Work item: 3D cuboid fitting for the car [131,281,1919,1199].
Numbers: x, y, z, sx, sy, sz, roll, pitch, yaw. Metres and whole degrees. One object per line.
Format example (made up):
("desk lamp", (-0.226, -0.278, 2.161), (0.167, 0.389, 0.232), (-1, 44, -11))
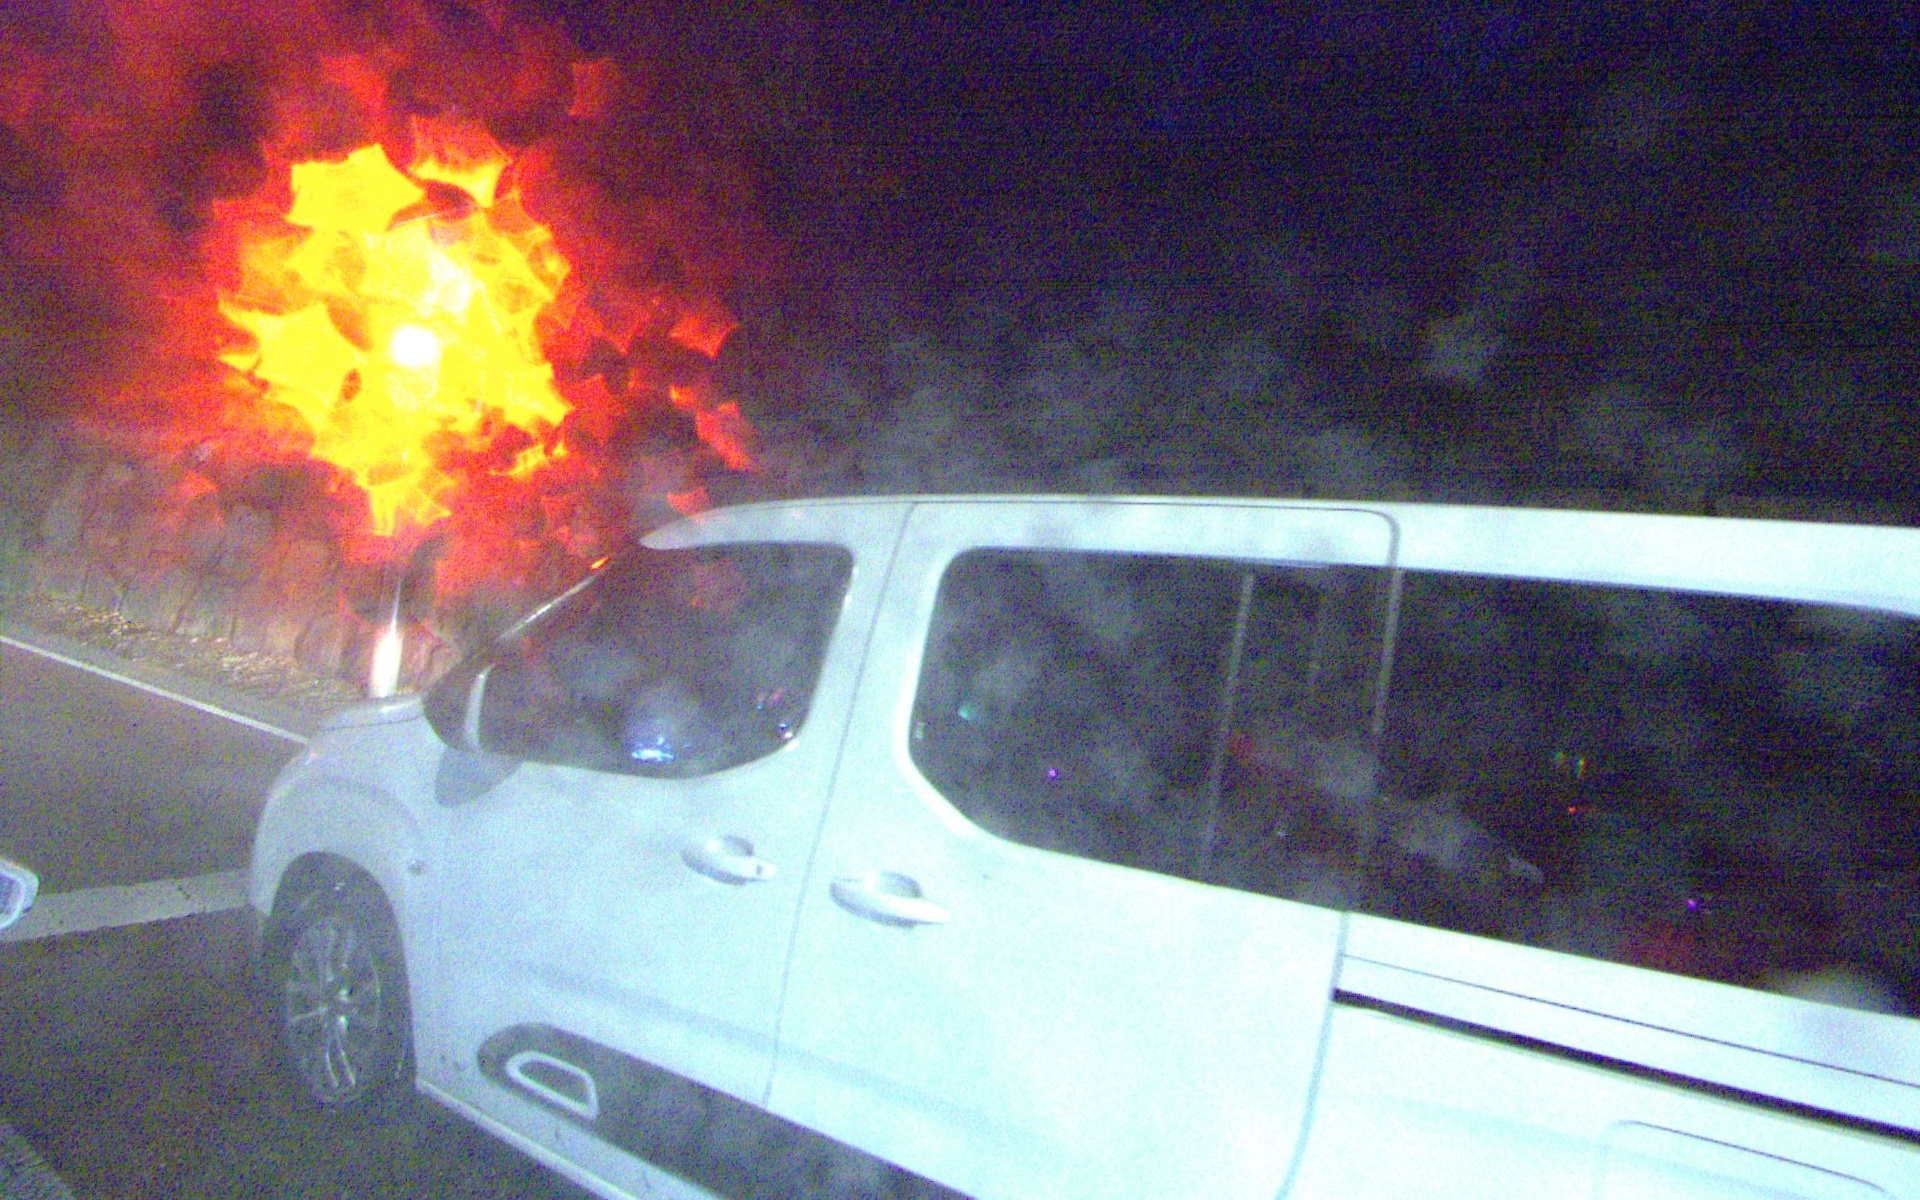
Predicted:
("car", (0.069, 0.603, 2.617), (4.501, 2.045, 1.795), (7, -1, 30))
